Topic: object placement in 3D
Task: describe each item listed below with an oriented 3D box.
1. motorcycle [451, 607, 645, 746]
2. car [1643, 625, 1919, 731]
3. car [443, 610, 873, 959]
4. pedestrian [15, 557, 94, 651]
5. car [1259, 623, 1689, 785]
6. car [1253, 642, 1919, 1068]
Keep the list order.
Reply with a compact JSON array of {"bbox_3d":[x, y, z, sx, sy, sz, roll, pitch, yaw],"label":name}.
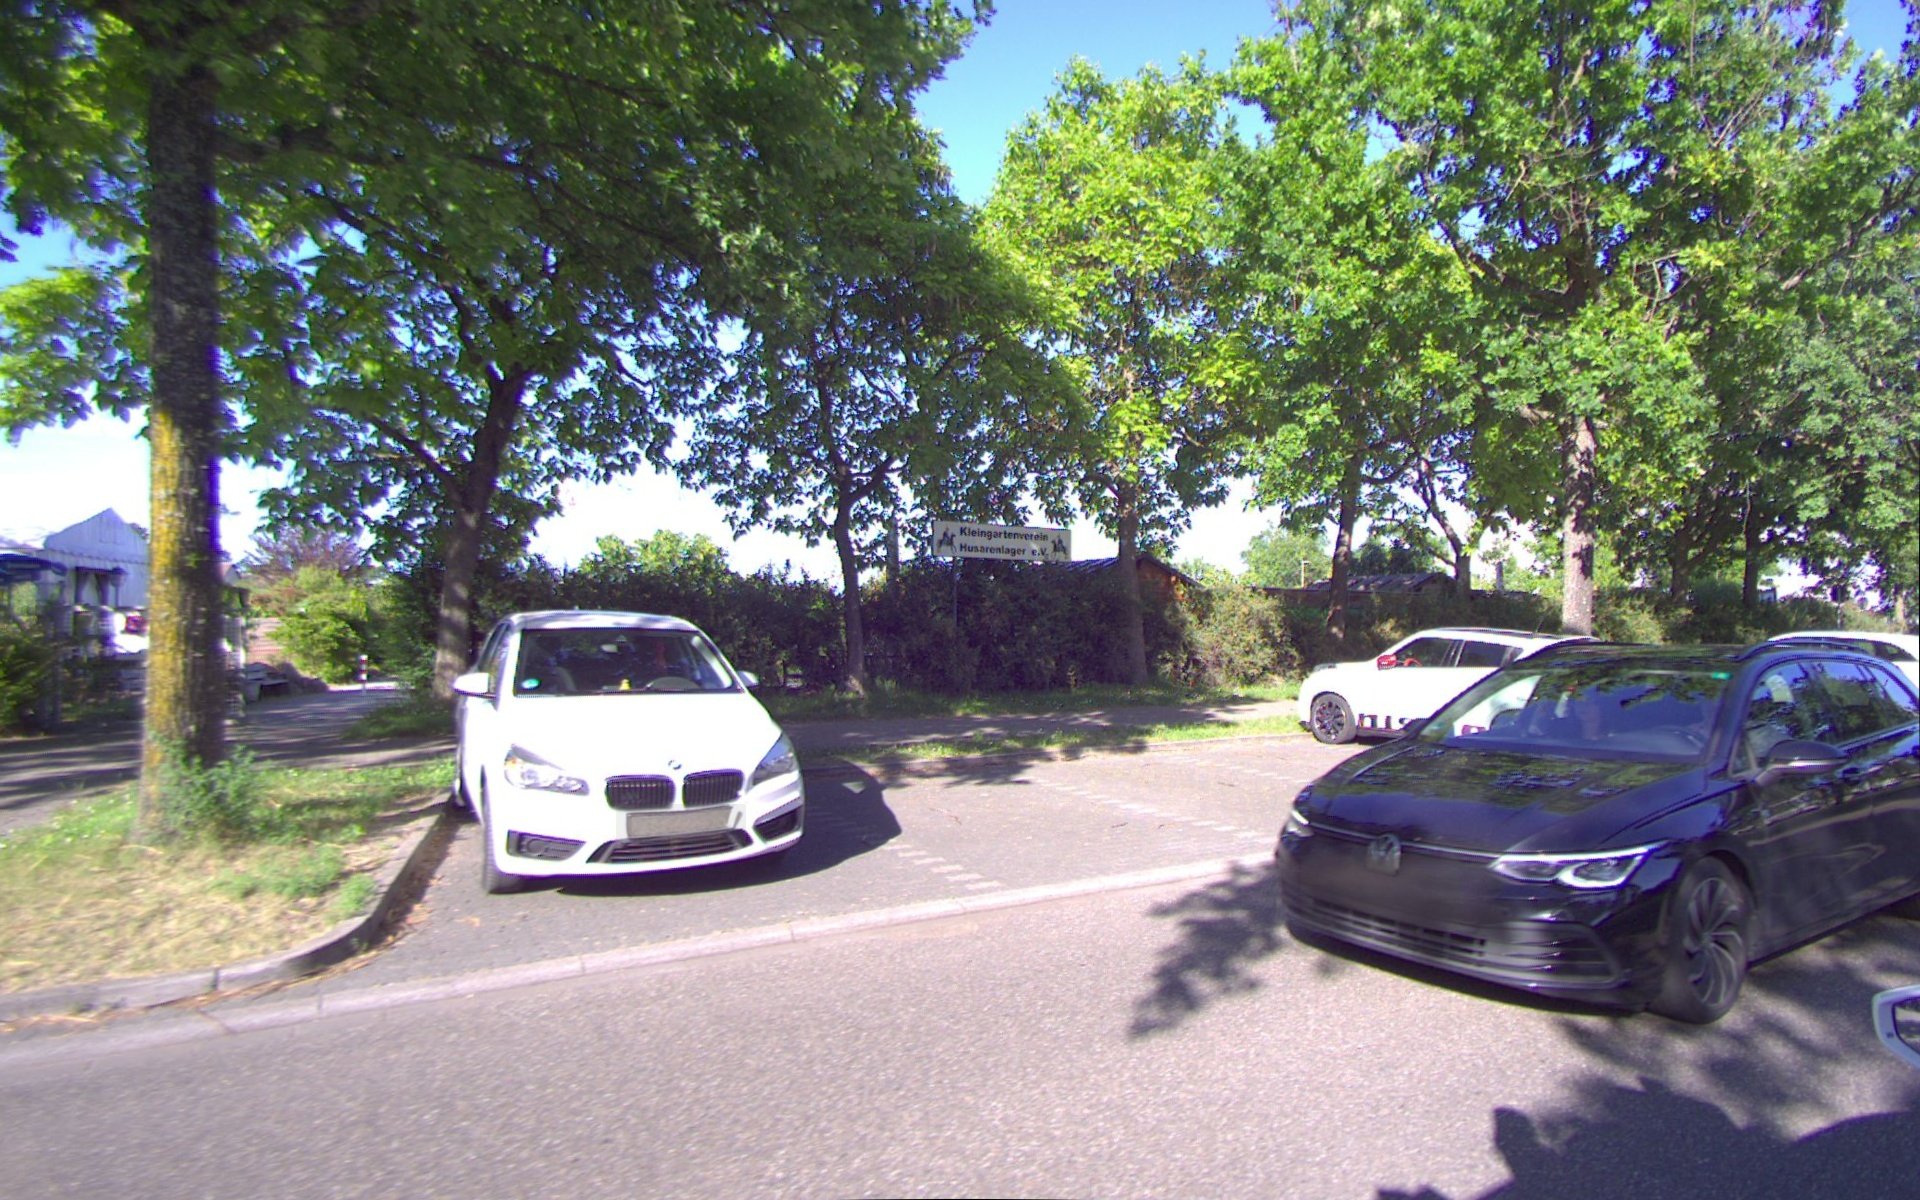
[{"bbox_3d":[-4.729,0.837,11.557,1.968,1.452,0.734,1,2,-31],"label":"motorcycle"},{"bbox_3d":[15.253,1.297,17.941,2.169,1.579,4.597,1,0,-34],"label":"car"},{"bbox_3d":[-2.444,0.895,7.122,2.063,1.577,4.393,1,0,-29],"label":"car"},{"bbox_3d":[-14.039,0.074,15.585,0.654,1.432,0.644,0,-1,-13],"label":"pedestrian"},{"bbox_3d":[6.147,1.103,12.568,2.064,1.531,4.390,1,0,-31],"label":"car"},{"bbox_3d":[3.736,0.952,5.310,4.375,1.420,1.676,1,-2,-31],"label":"car"}]
